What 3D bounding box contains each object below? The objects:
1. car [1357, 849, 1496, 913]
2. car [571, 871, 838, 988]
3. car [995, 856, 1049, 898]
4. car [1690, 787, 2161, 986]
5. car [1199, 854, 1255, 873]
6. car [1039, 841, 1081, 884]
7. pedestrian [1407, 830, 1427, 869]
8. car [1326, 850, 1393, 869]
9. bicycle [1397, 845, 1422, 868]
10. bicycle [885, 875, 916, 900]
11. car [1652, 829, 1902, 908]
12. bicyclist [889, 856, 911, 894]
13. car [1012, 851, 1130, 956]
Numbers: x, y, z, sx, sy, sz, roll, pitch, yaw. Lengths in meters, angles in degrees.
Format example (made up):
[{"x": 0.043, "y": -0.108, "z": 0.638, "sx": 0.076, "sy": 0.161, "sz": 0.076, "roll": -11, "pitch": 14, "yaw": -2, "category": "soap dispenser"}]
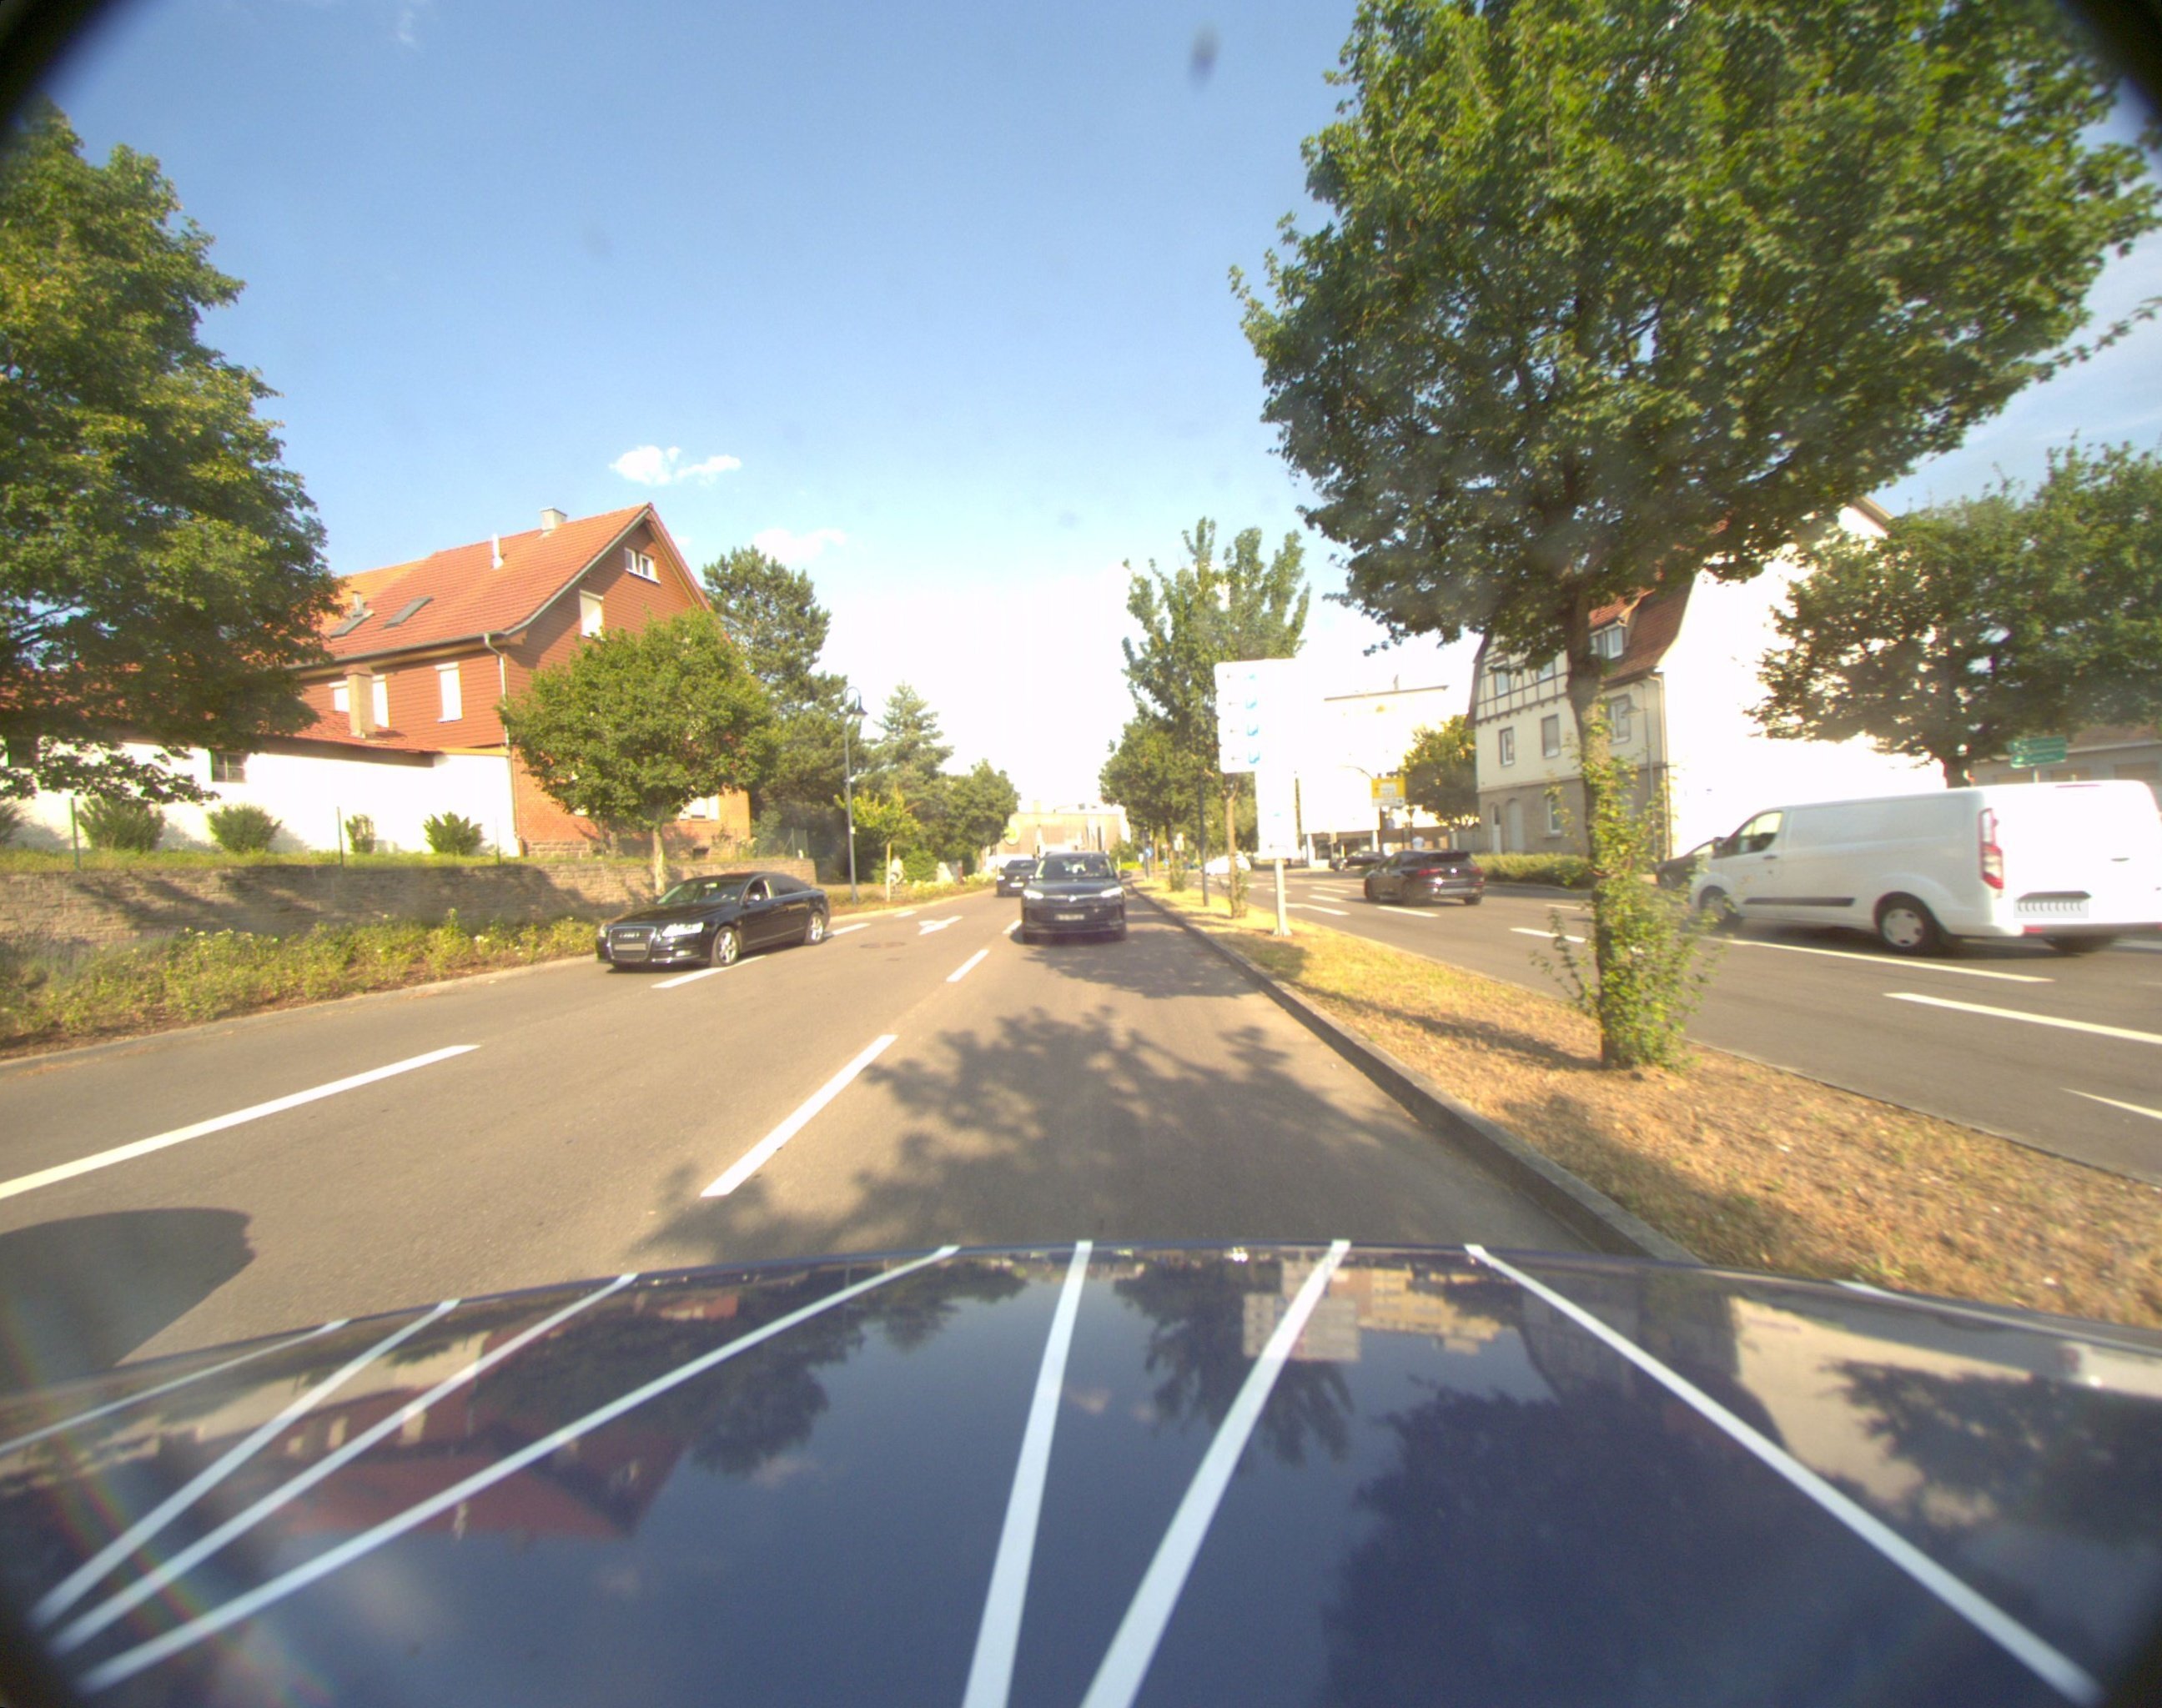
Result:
[{"x": 8.902, "y": 0.614, "z": 20.001, "sx": 1.773, "sy": 1.442, "sz": 4.107, "roll": -2, "pitch": 0, "yaw": 0, "category": "car"}, {"x": -5.990, "y": 1.112, "z": 12.868, "sx": 1.684, "sy": 1.427, "sz": 4.592, "roll": -2, "pitch": 0, "yaw": 8, "category": "car"}, {"x": -2.481, "y": 0.953, "z": 32.949, "sx": 1.886, "sy": 1.599, "sz": 4.127, "roll": -2, "pitch": 0, "yaw": 1, "category": "car"}, {"x": 10.662, "y": 0.280, "z": 9.850, "sx": 1.827, "sy": 1.912, "sz": 4.945, "roll": -2, "pitch": 1, "yaw": 4, "category": "car"}, {"x": 11.698, "y": 0.766, "z": 61.145, "sx": 4.129, "sy": 1.346, "sz": 1.767, "roll": -2, "pitch": 1, "yaw": -2, "category": "car"}, {"x": -1.299, "y": 0.505, "z": 49.871, "sx": 2.370, "sy": 2.532, "sz": 6.192, "roll": -2, "pitch": 1, "yaw": 1, "category": "car"}, {"x": 17.749, "y": -0.239, "z": 40.135, "sx": 0.699, "sy": 1.971, "sz": 0.588, "roll": -2, "pitch": 1, "yaw": 2, "category": "pedestrian"}, {"x": 21.896, "y": 0.429, "z": 59.911, "sx": 4.661, "sy": 1.346, "sz": 1.768, "roll": -2, "pitch": 1, "yaw": 9, "category": "car"}, {"x": 17.809, "y": 0.122, "z": 41.203, "sx": 0.681, "sy": 1.215, "sz": 1.514, "roll": -2, "pitch": 1, "yaw": 2, "category": "bicycle"}, {"x": -8.054, "y": 1.479, "z": 33.893, "sx": 0.522, "sy": 1.012, "sz": 1.877, "roll": -2, "pitch": 1, "yaw": 13, "category": "bicycle"}, {"x": 15.683, "y": 0.284, "z": 17.499, "sx": 1.839, "sy": 1.436, "sz": 4.194, "roll": -6, "pitch": 0, "yaw": 0, "category": "car"}, {"x": -8.080, "y": 0.941, "z": 33.913, "sx": 0.603, "sy": 1.668, "sz": 0.735, "roll": -2, "pitch": 1, "yaw": 13, "category": "bicyclist"}, {"x": -0.119, "y": 0.804, "z": 14.920, "sx": 1.894, "sy": 1.647, "sz": 4.729, "roll": -2, "pitch": 0, "yaw": 1, "category": "car"}]
